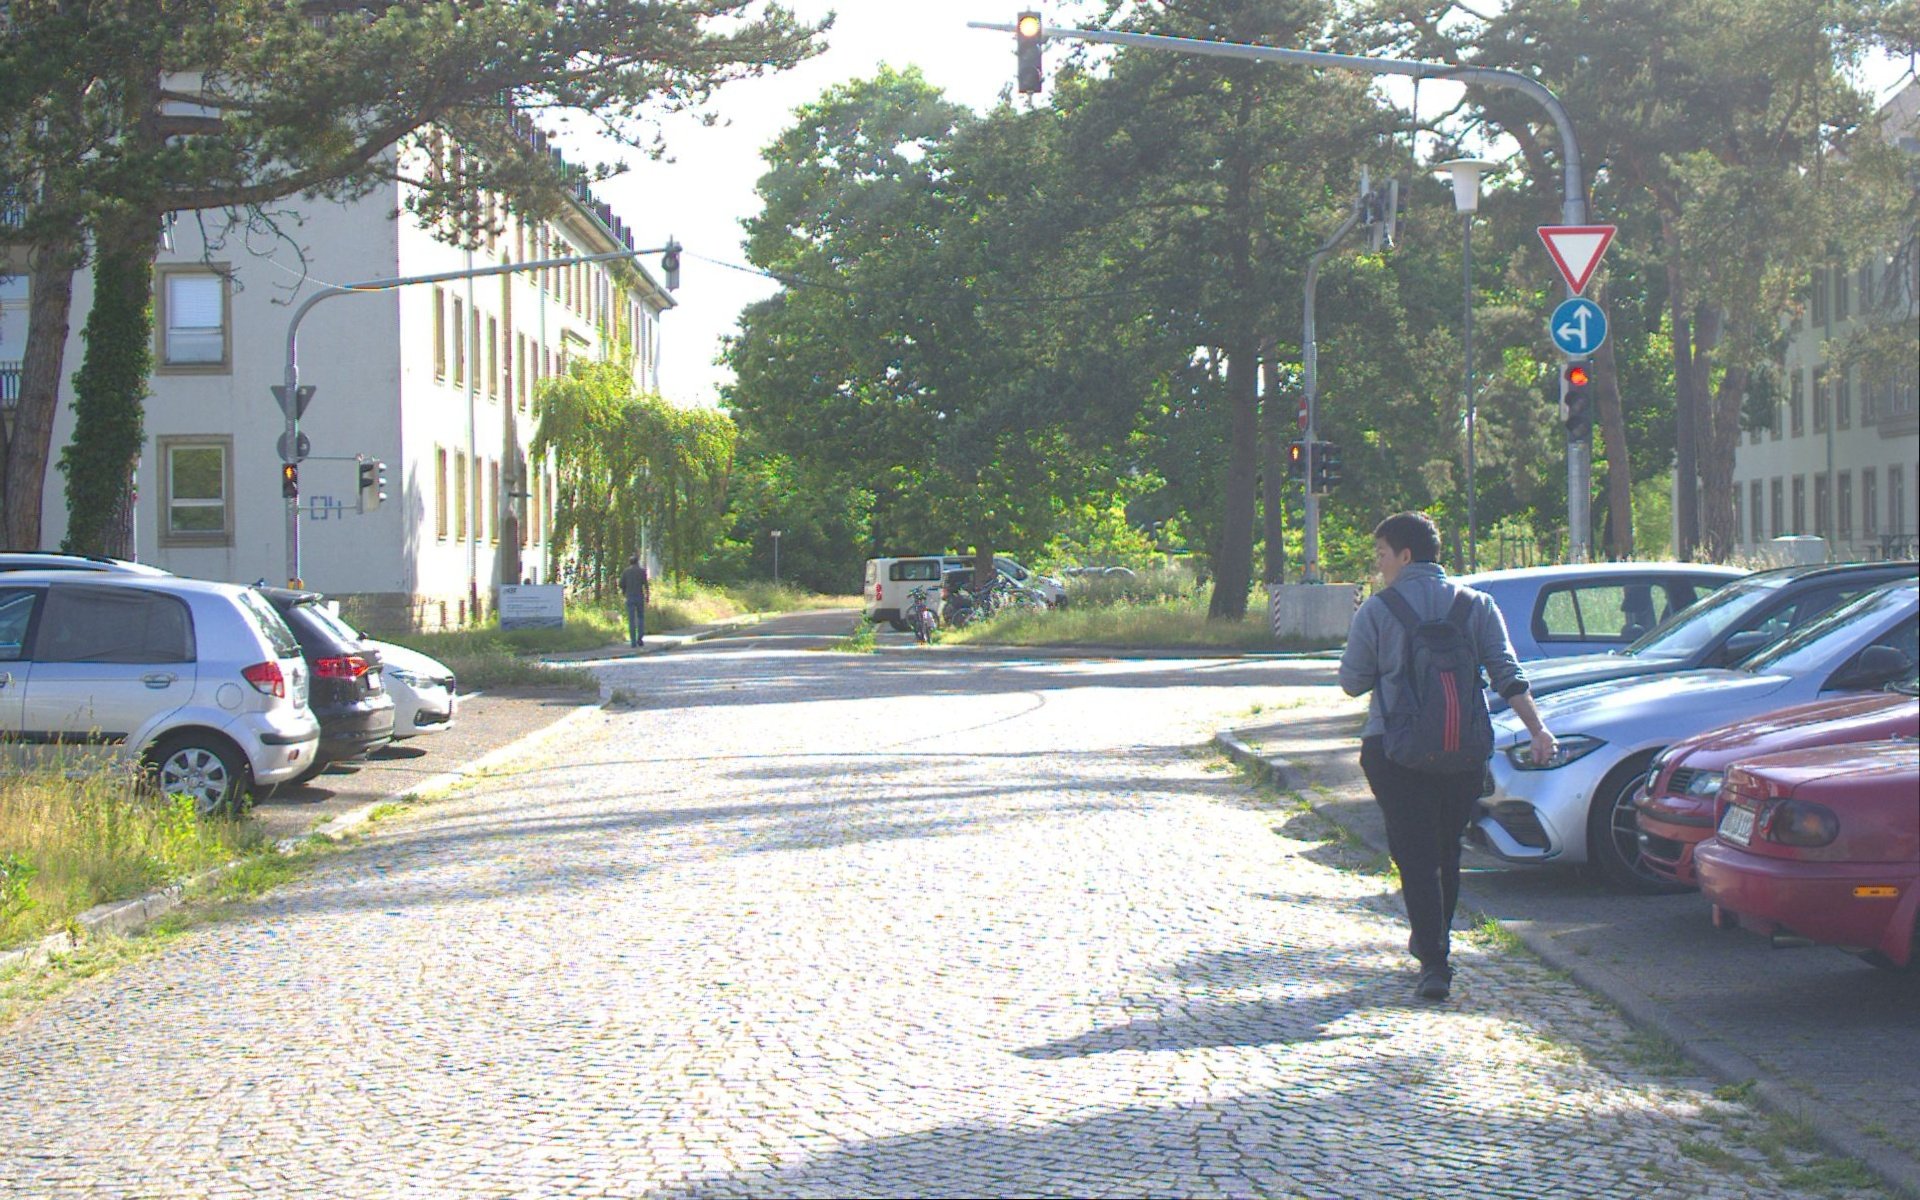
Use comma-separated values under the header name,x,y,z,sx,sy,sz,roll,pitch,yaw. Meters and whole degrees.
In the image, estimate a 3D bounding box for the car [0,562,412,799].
name,x,y,z,sx,sy,sz,roll,pitch,yaw
car,-5.886,0.500,23.621,3.937,1.440,1.691,3,1,-1

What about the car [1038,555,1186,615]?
name,x,y,z,sx,sy,sz,roll,pitch,yaw
car,4.083,-0.414,92.579,3.743,1.574,1.742,0,1,-7

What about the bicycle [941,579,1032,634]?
name,x,y,z,sx,sy,sz,roll,pitch,yaw
bicycle,0.544,0.131,70.754,1.834,1.108,0.495,-1,0,-4

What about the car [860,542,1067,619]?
name,x,y,z,sx,sy,sz,roll,pitch,yaw
car,0.079,-0.521,88.647,5.065,1.911,2.001,-1,1,-10

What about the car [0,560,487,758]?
name,x,y,z,sx,sy,sz,roll,pitch,yaw
car,-6.169,0.471,29.023,3.987,1.491,1.772,2,1,4

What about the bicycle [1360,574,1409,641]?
name,x,y,z,sx,sy,sz,roll,pitch,yaw
bicycle,7.279,0.114,58.860,0.722,1.111,2.582,-1,1,9

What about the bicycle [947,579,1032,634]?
name,x,y,z,sx,sy,sz,roll,pitch,yaw
bicycle,0.607,0.126,71.299,1.727,1.108,0.484,-1,0,-4

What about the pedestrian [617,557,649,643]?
name,x,y,z,sx,sy,sz,roll,pitch,yaw
pedestrian,-6.703,-0.008,70.447,0.607,1.746,0.630,0,1,-1

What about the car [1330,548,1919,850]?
name,x,y,z,sx,sy,sz,roll,pitch,yaw
car,4.556,0.484,19.359,4.619,1.450,1.870,-3,1,-2

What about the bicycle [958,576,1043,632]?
name,x,y,z,sx,sy,sz,roll,pitch,yaw
bicycle,0.836,0.081,71.980,1.727,1.160,0.561,-1,0,-4

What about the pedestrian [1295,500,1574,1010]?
name,x,y,z,sx,sy,sz,roll,pitch,yaw
pedestrian,1.687,0.534,12.349,0.753,1.719,0.828,4,0,-1

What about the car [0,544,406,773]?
name,x,y,z,sx,sy,sz,roll,pitch,yaw
car,-6.322,0.409,26.305,3.879,1.610,1.661,2,1,-1

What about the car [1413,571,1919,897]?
name,x,y,z,sx,sy,sz,roll,pitch,yaw
car,4.522,0.567,16.464,4.399,1.384,1.789,-2,1,-1

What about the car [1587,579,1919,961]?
name,x,y,z,sx,sy,sz,roll,pitch,yaw
car,4.756,0.624,14.214,3.979,1.443,1.656,-1,1,-1

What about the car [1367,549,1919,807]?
name,x,y,z,sx,sy,sz,roll,pitch,yaw
car,4.544,0.463,21.811,3.673,1.438,1.665,-2,1,0

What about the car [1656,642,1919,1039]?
name,x,y,z,sx,sy,sz,roll,pitch,yaw
car,4.280,0.778,11.825,3.460,1.238,1.536,0,1,0

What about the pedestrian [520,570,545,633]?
name,x,y,z,sx,sy,sz,roll,pitch,yaw
pedestrian,-10.519,0.040,84.657,0.606,1.554,0.545,0,0,-7

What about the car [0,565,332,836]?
name,x,y,z,sx,sy,sz,roll,pitch,yaw
car,-5.819,0.558,20.958,3.685,1.522,1.699,2,1,-3

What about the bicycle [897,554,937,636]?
name,x,y,z,sx,sy,sz,roll,pitch,yaw
bicycle,-0.842,-0.116,67.291,0.753,1.575,2.537,0,1,-1
